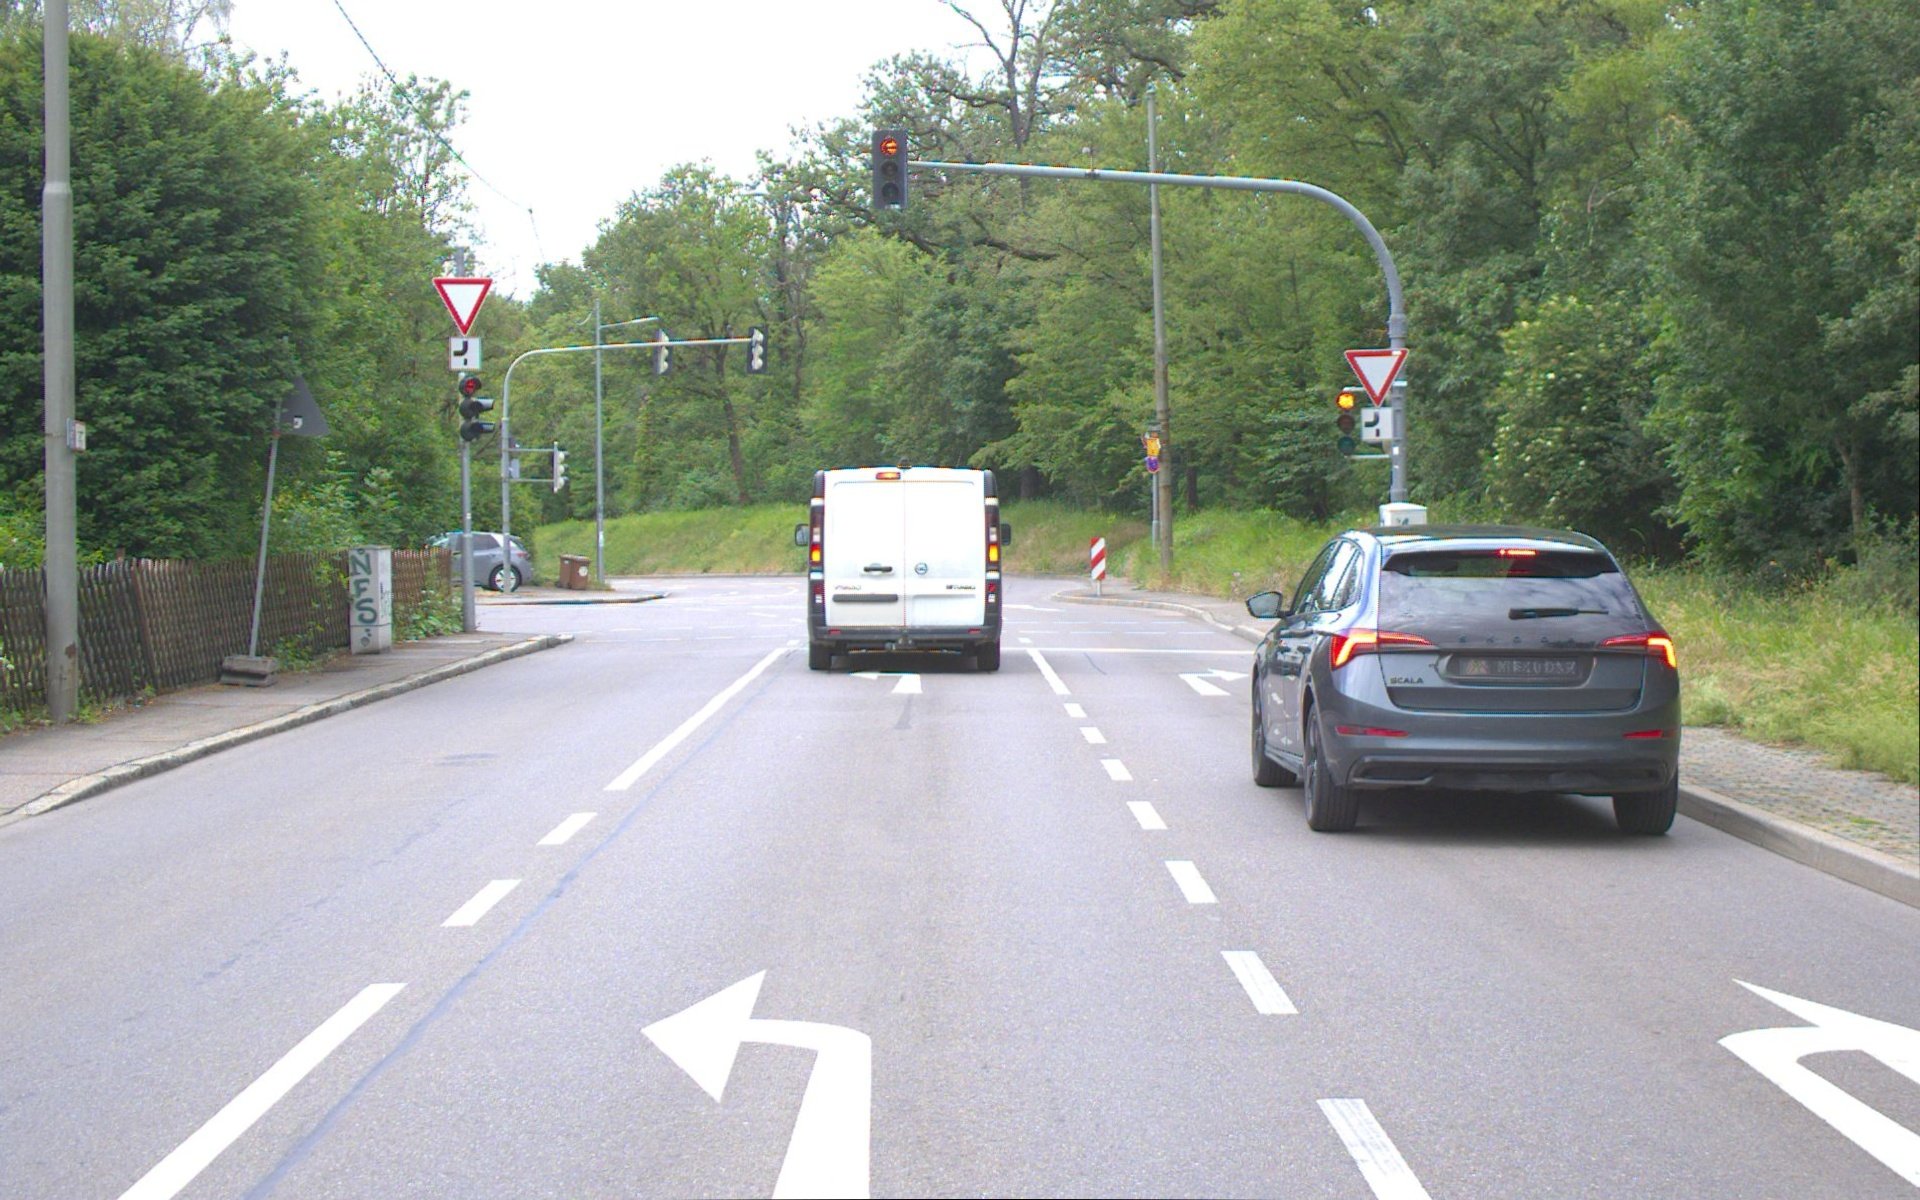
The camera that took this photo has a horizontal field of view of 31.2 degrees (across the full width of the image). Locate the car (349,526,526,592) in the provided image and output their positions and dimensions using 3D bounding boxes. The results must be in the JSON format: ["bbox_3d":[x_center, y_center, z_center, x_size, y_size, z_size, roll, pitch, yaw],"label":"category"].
[{"bbox_3d":[-12.899,-1.017,84.852,4.085,1.548,1.855,-1,2,-17],"label":"car"}]

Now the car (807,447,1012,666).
[{"bbox_3d":[-0.571,-0.466,34.539,1.916,2.046,4.615,0,1,-2],"label":"car"}]

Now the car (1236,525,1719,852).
[{"bbox_3d":[2.486,0.354,17.435,1.792,1.445,4.000,0,1,-1],"label":"car"}]
